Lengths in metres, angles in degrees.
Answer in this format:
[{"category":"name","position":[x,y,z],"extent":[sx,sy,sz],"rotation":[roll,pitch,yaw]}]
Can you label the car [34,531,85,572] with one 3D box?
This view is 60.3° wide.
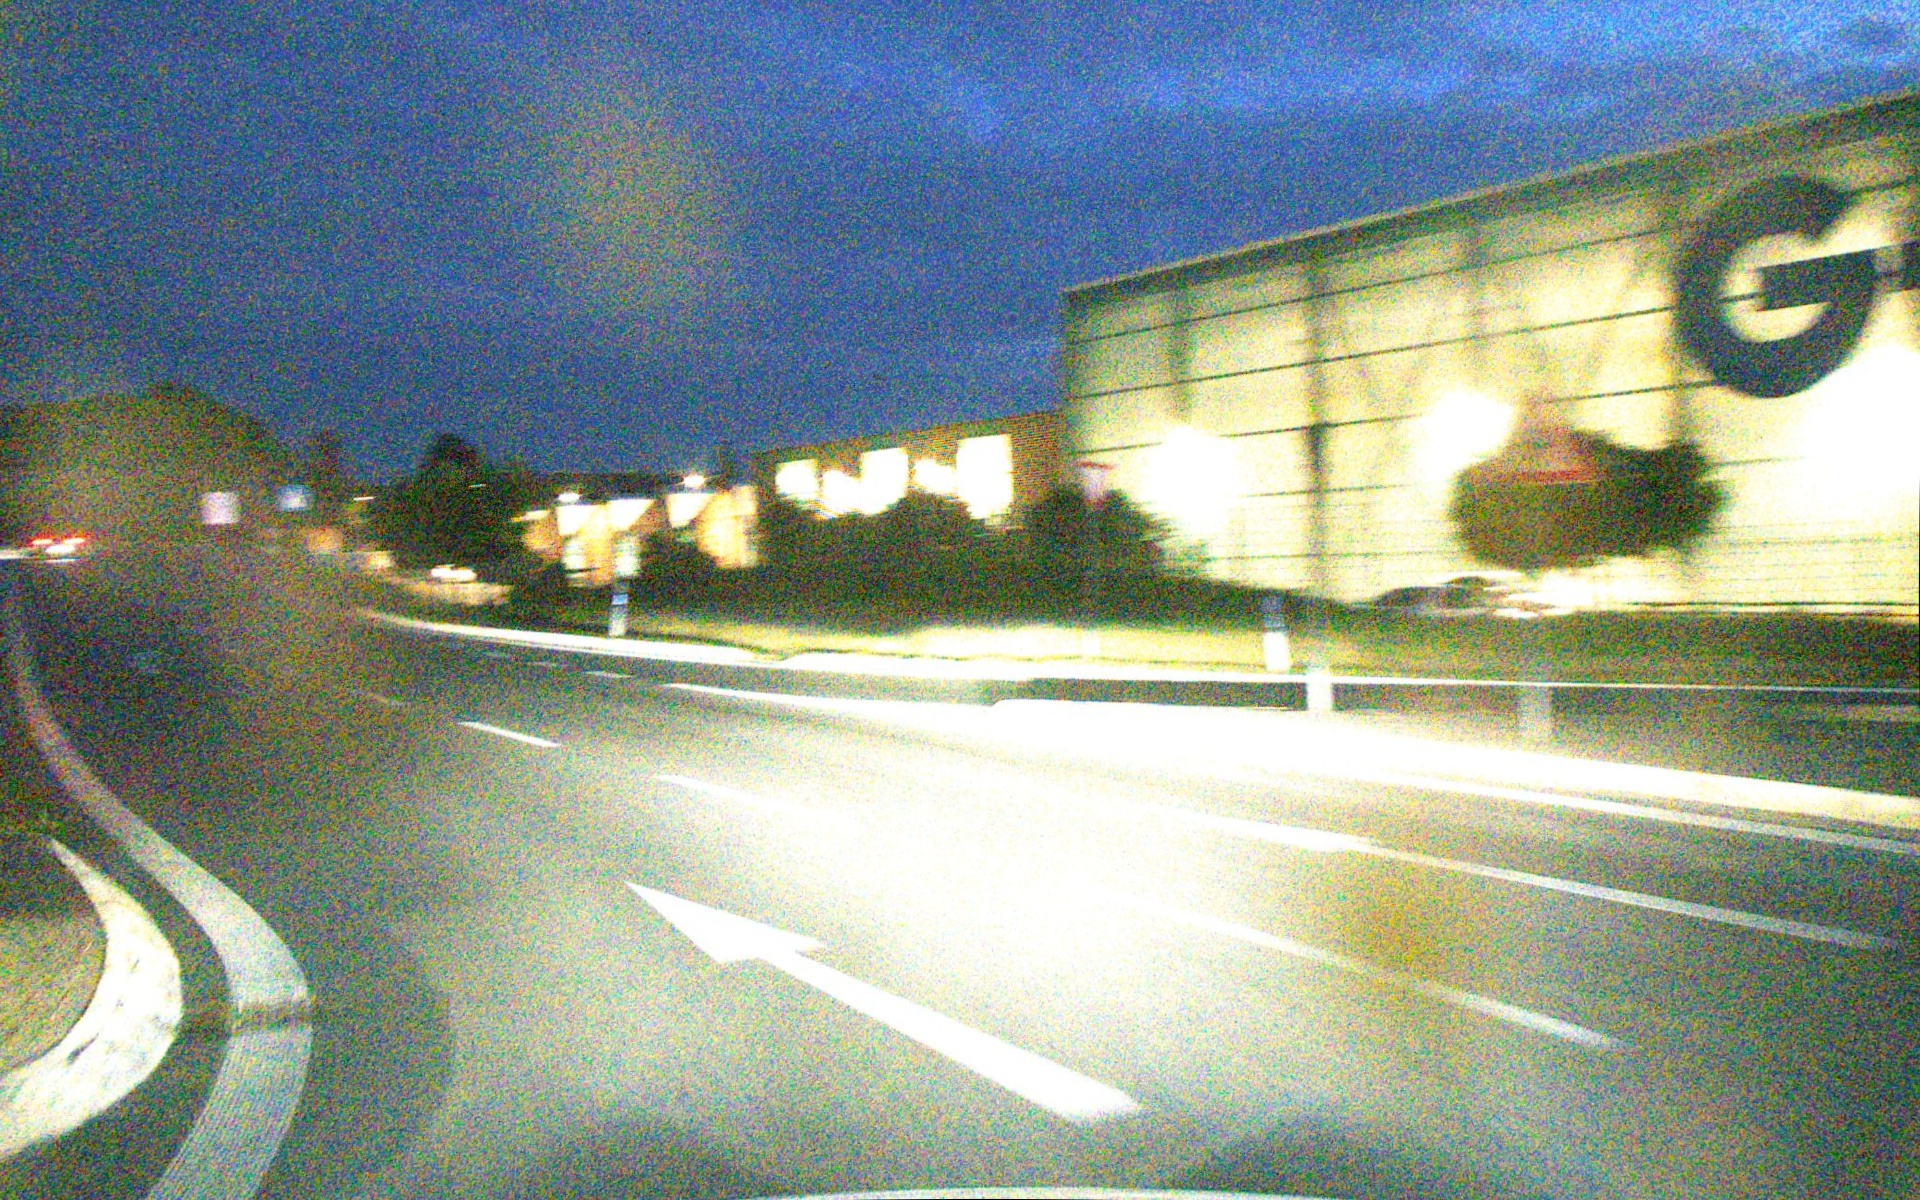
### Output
[{"category":"car","position":[-45.888,-2.497,84.280],"extent":[1.976,2.048,3.954],"rotation":[-1,2,-33]}]
